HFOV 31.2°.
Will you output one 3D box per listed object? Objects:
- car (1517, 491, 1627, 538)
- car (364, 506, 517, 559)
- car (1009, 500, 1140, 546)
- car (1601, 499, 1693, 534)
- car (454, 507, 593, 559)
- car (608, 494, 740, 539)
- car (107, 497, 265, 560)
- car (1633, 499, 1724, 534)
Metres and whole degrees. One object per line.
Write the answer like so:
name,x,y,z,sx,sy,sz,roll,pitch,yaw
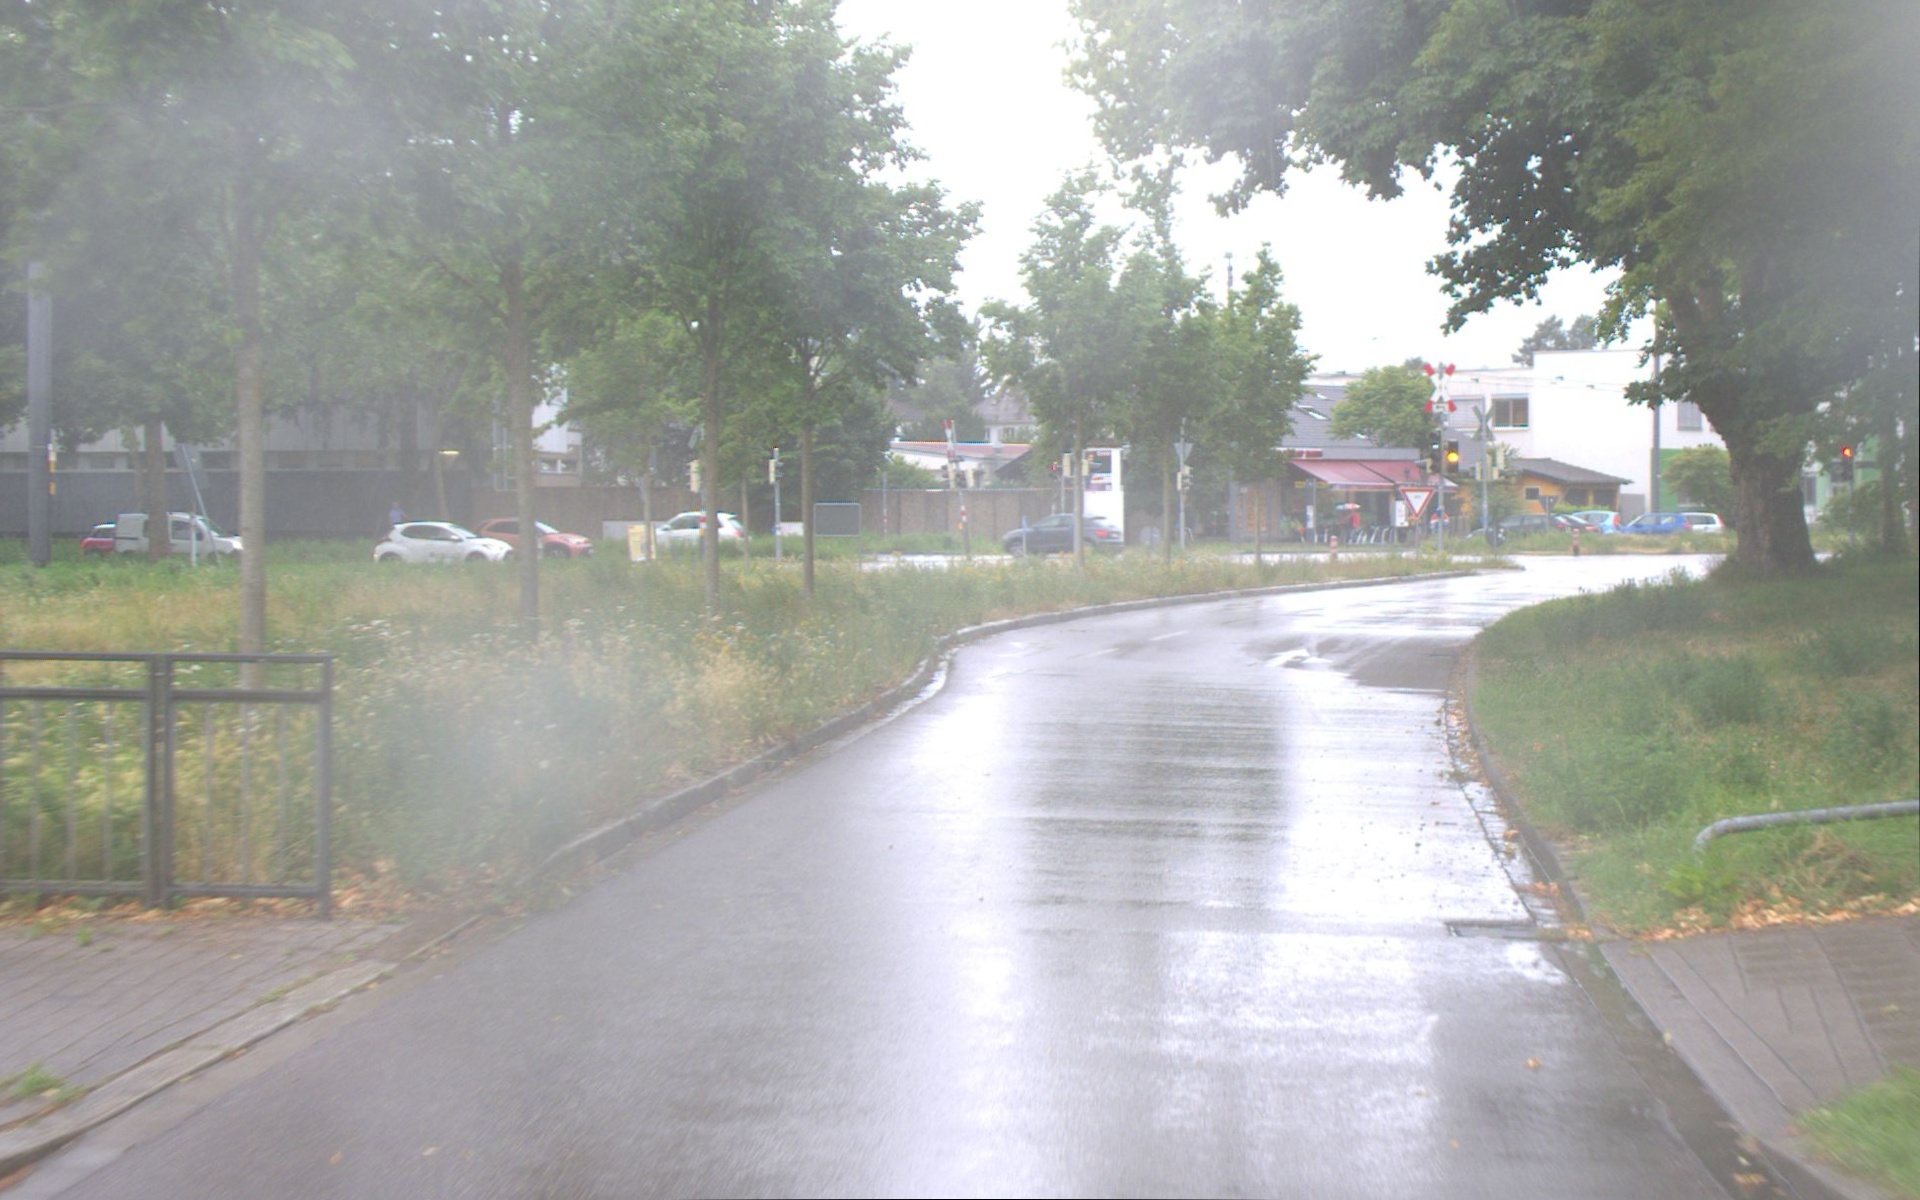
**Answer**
car,25.095,-3.508,141.037,4.141,1.853,1.671,0,1,27
car,-15.075,-1.954,99.810,4.067,1.494,1.651,0,1,8
car,3.634,-2.442,109.292,3.808,1.415,1.687,0,2,25
car,28.964,-3.515,144.901,3.752,1.437,1.761,0,1,14
car,-13.121,-2.011,103.404,3.819,1.494,1.651,0,1,8
car,-9.273,-2.705,111.443,3.988,1.415,1.538,0,2,10
car,-22.776,-2.119,101.284,4.210,1.790,1.652,0,2,6
car,30.885,-3.596,147.688,3.752,1.437,1.761,0,1,14
